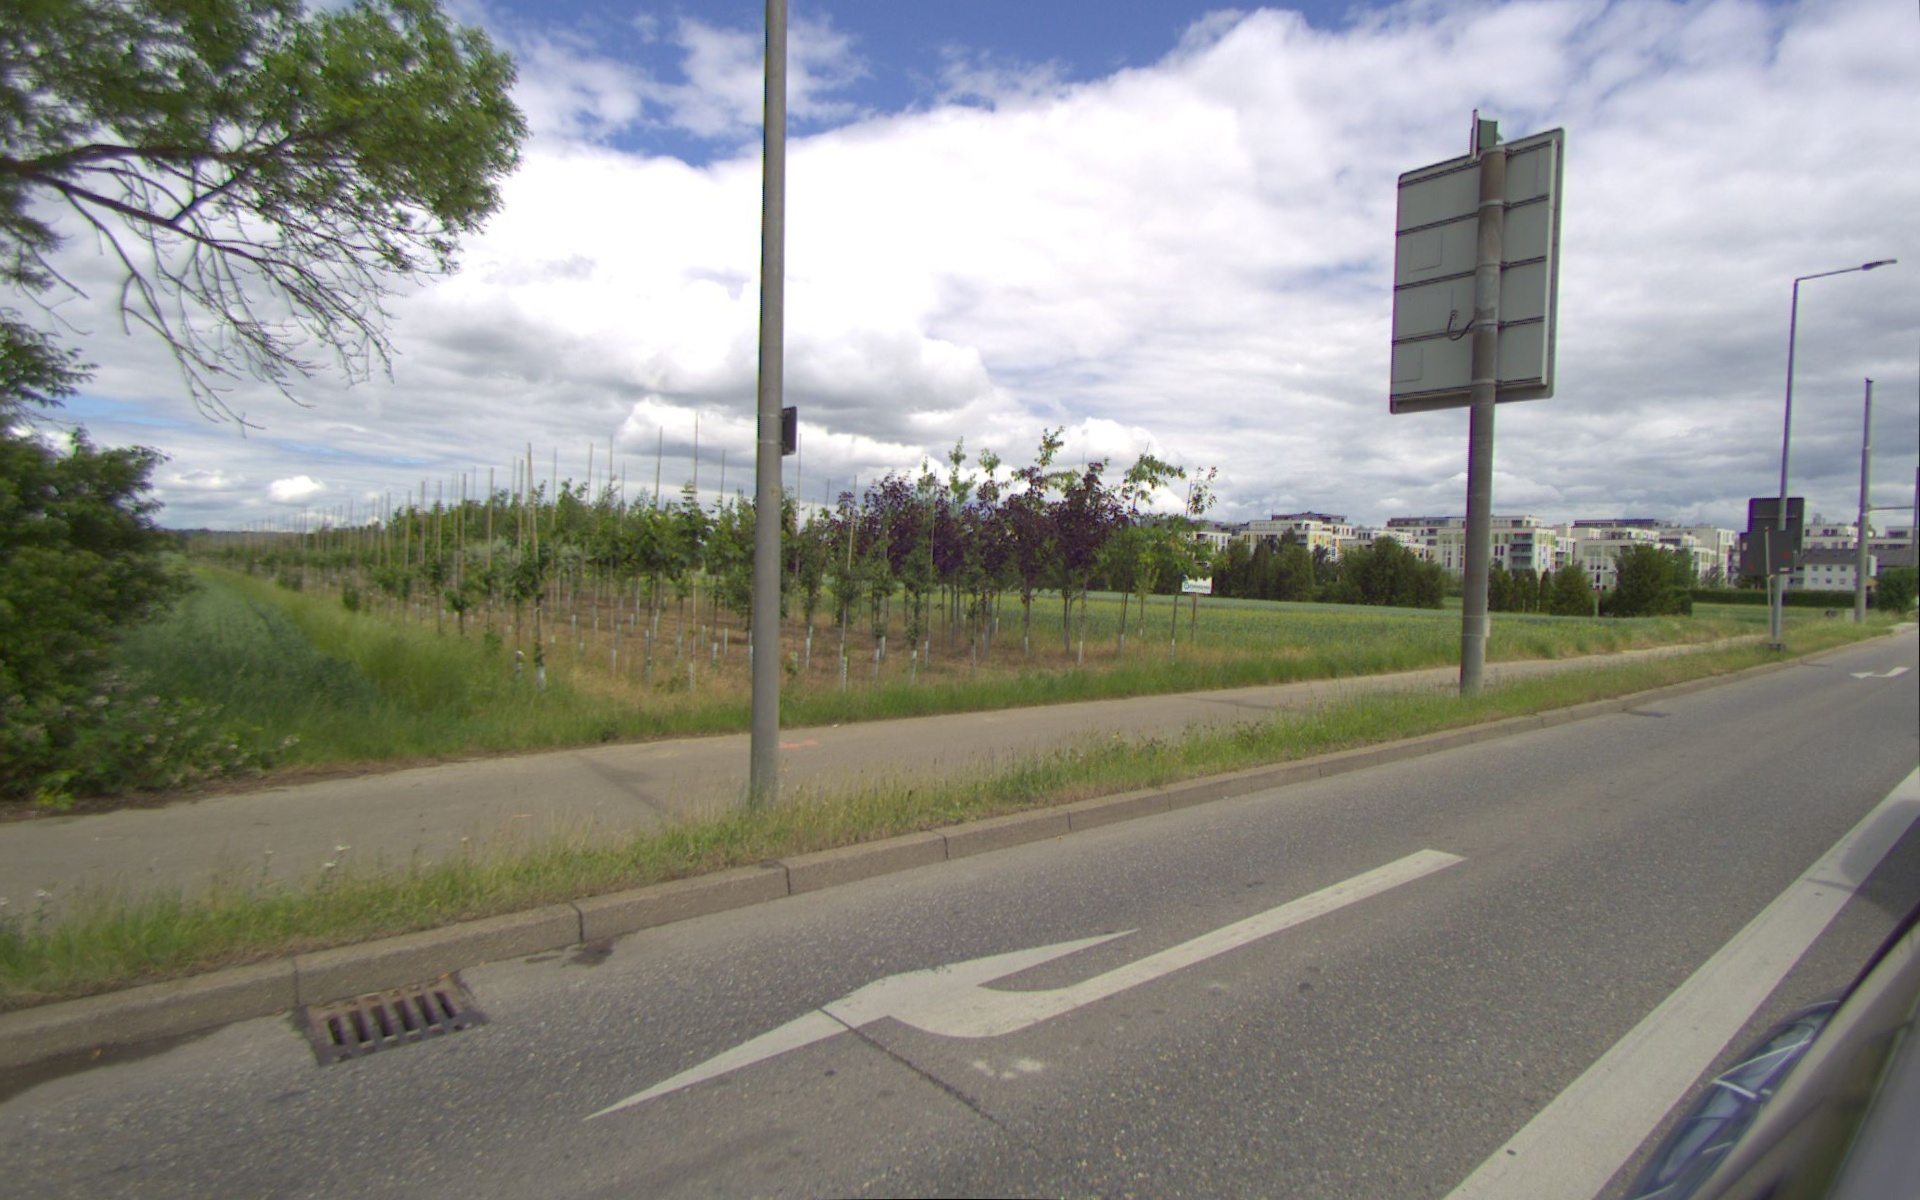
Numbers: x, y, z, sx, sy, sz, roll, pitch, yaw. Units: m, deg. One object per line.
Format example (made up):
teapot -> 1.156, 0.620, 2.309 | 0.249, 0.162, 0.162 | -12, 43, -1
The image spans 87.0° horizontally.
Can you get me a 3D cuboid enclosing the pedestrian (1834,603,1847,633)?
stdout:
pedestrian -> 51.727, 1.052, 59.457 | 0.615, 1.724, 0.492 | 0, 0, -42
